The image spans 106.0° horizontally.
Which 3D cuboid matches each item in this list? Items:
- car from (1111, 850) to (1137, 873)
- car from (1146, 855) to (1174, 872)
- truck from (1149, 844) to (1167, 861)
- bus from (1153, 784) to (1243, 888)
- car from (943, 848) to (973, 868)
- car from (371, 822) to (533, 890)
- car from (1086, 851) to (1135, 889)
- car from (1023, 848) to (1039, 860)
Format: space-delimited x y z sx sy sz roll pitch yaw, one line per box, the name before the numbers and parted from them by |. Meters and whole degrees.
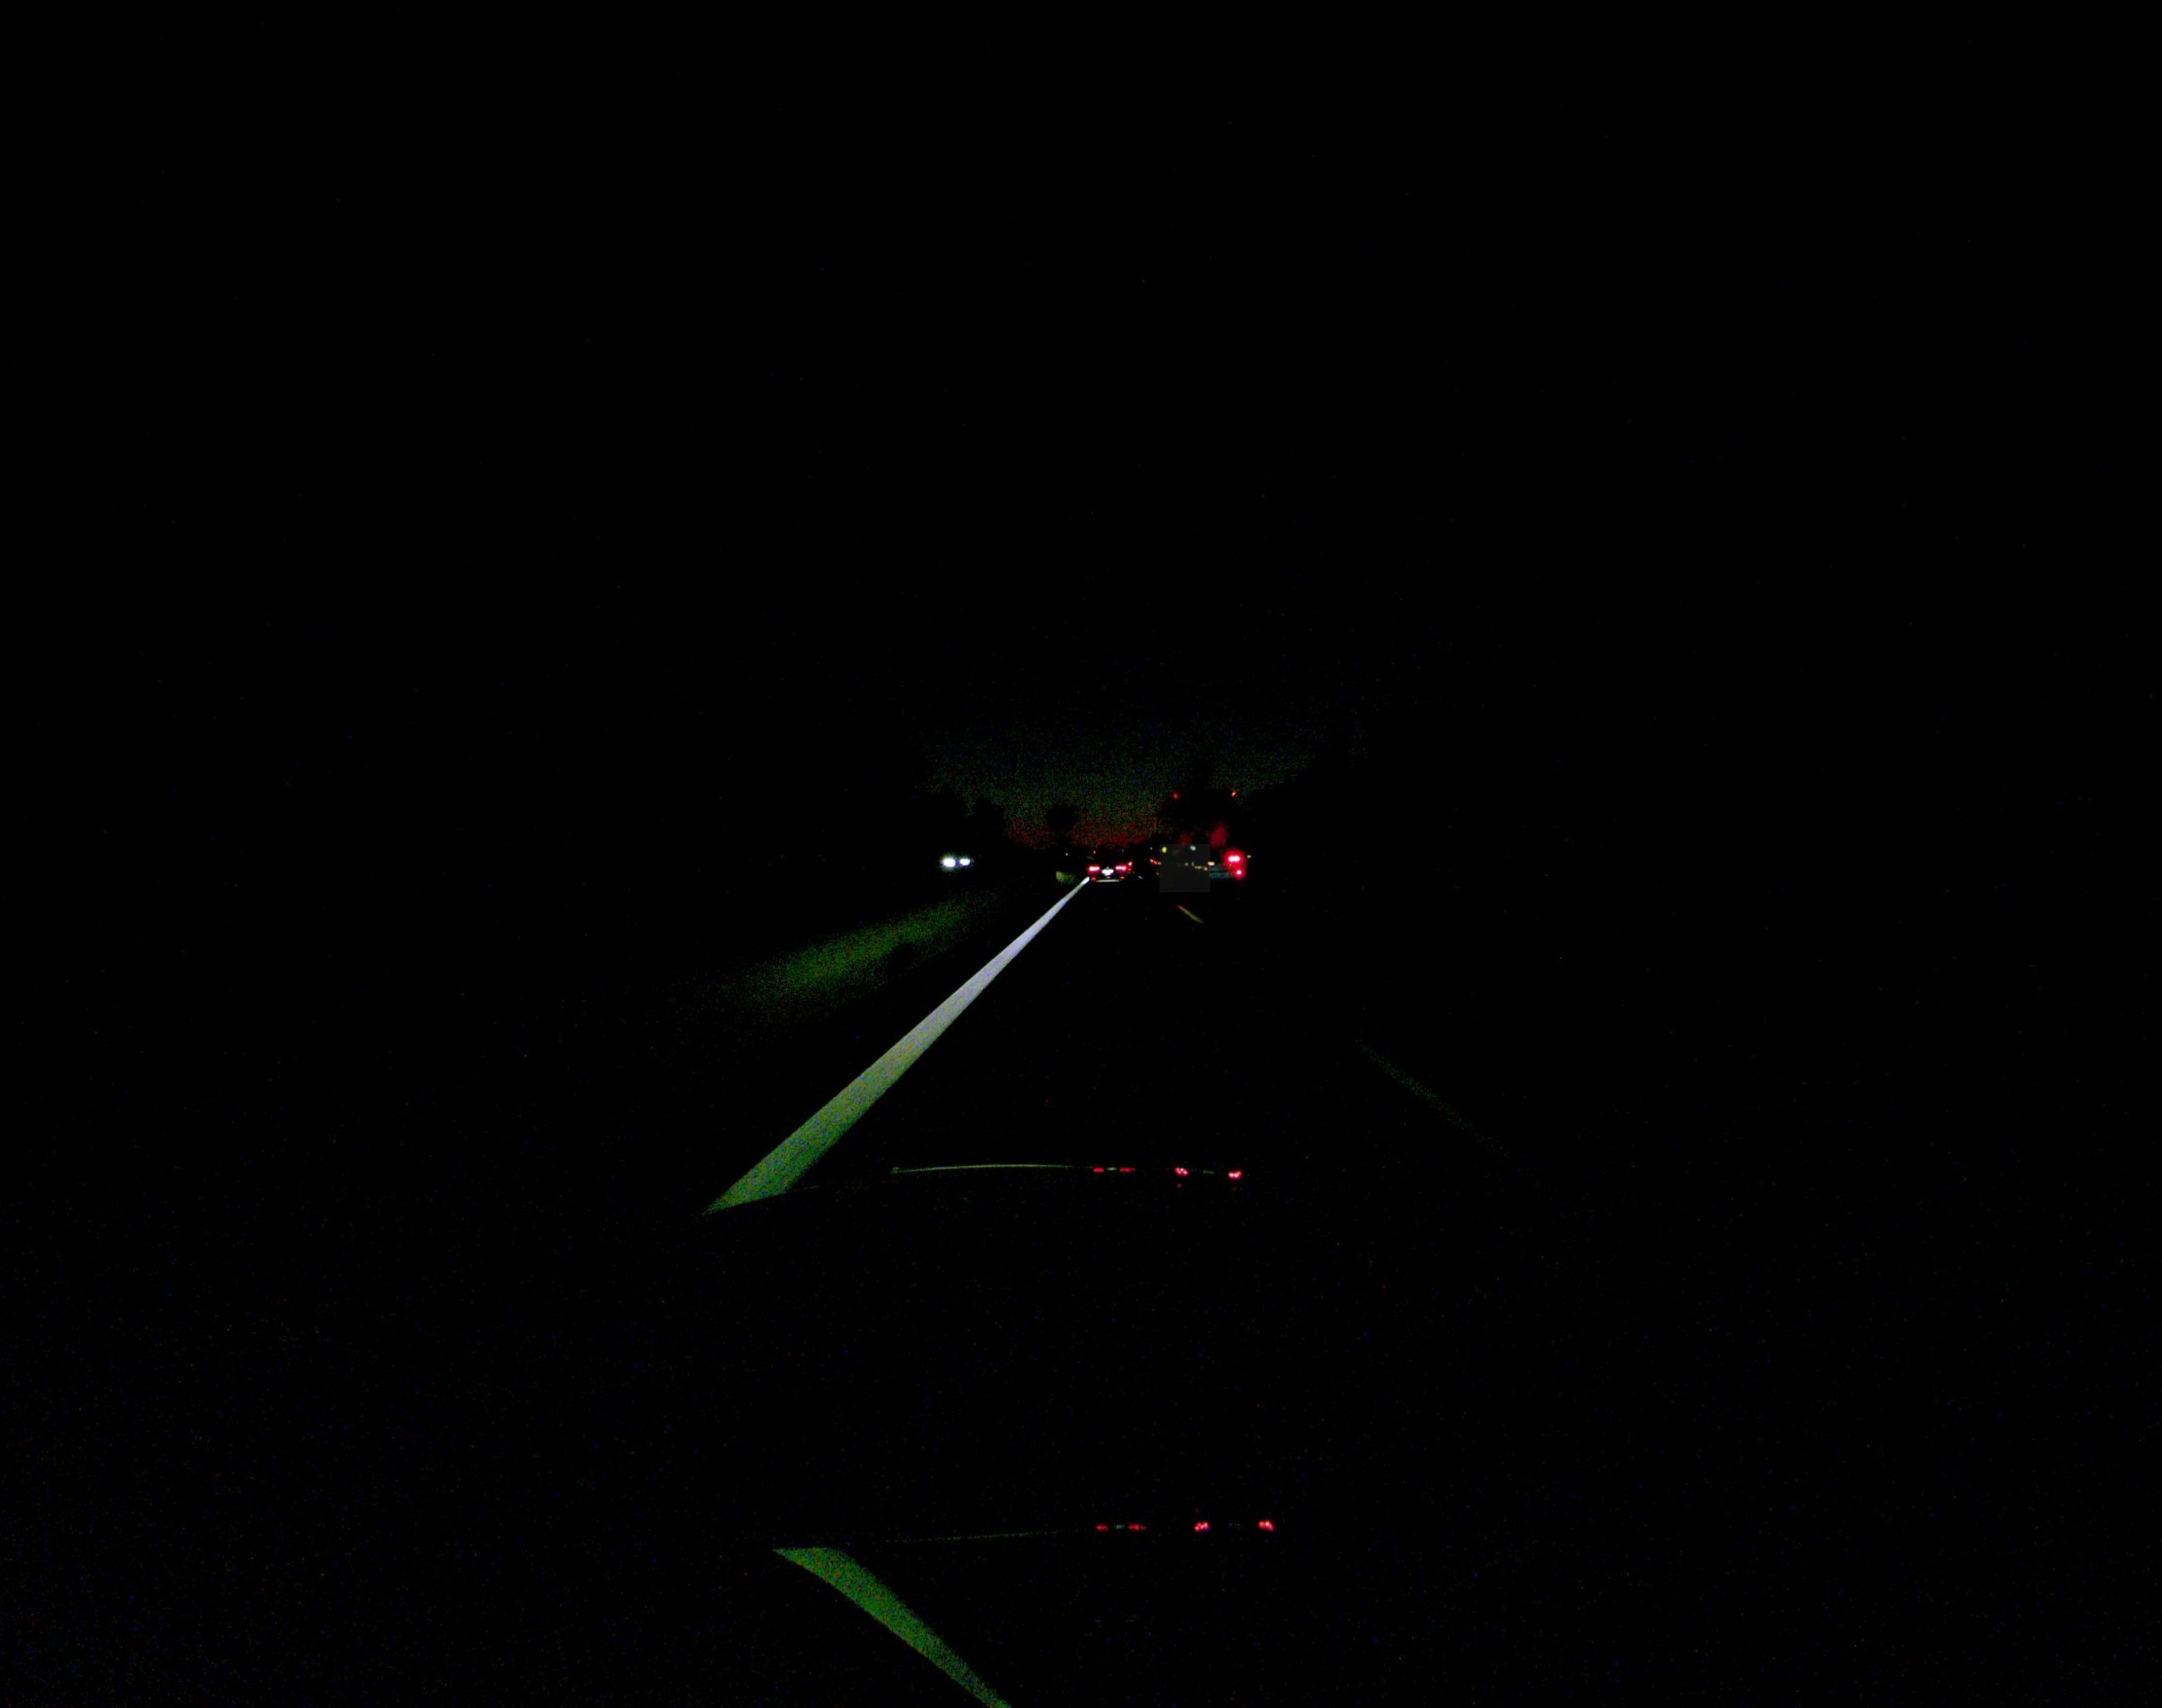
car | 3.453 0.648 66.041 1.905 1.730 4.000 -2 -1 0
car | 6.377 0.772 66.160 1.905 1.275 4.000 -2 -1 0
truck | 13.065 -0.205 138.821 2.593 2.875 7.487 -1 -1 2
bus | 5.222 -0.593 39.237 2.642 3.994 14.707 -2 -1 2
car | -11.633 0.375 77.346 1.986 1.776 5.171 1 0 1
car | -19.957 0.068 26.086 1.987 1.926 4.000 -3 -1 1
car | 1.338 0.759 38.112 2.098 1.618 4.204 -1 -1 1
car | -7.333 0.012 120.883 1.986 1.776 4.749 1 0 1
